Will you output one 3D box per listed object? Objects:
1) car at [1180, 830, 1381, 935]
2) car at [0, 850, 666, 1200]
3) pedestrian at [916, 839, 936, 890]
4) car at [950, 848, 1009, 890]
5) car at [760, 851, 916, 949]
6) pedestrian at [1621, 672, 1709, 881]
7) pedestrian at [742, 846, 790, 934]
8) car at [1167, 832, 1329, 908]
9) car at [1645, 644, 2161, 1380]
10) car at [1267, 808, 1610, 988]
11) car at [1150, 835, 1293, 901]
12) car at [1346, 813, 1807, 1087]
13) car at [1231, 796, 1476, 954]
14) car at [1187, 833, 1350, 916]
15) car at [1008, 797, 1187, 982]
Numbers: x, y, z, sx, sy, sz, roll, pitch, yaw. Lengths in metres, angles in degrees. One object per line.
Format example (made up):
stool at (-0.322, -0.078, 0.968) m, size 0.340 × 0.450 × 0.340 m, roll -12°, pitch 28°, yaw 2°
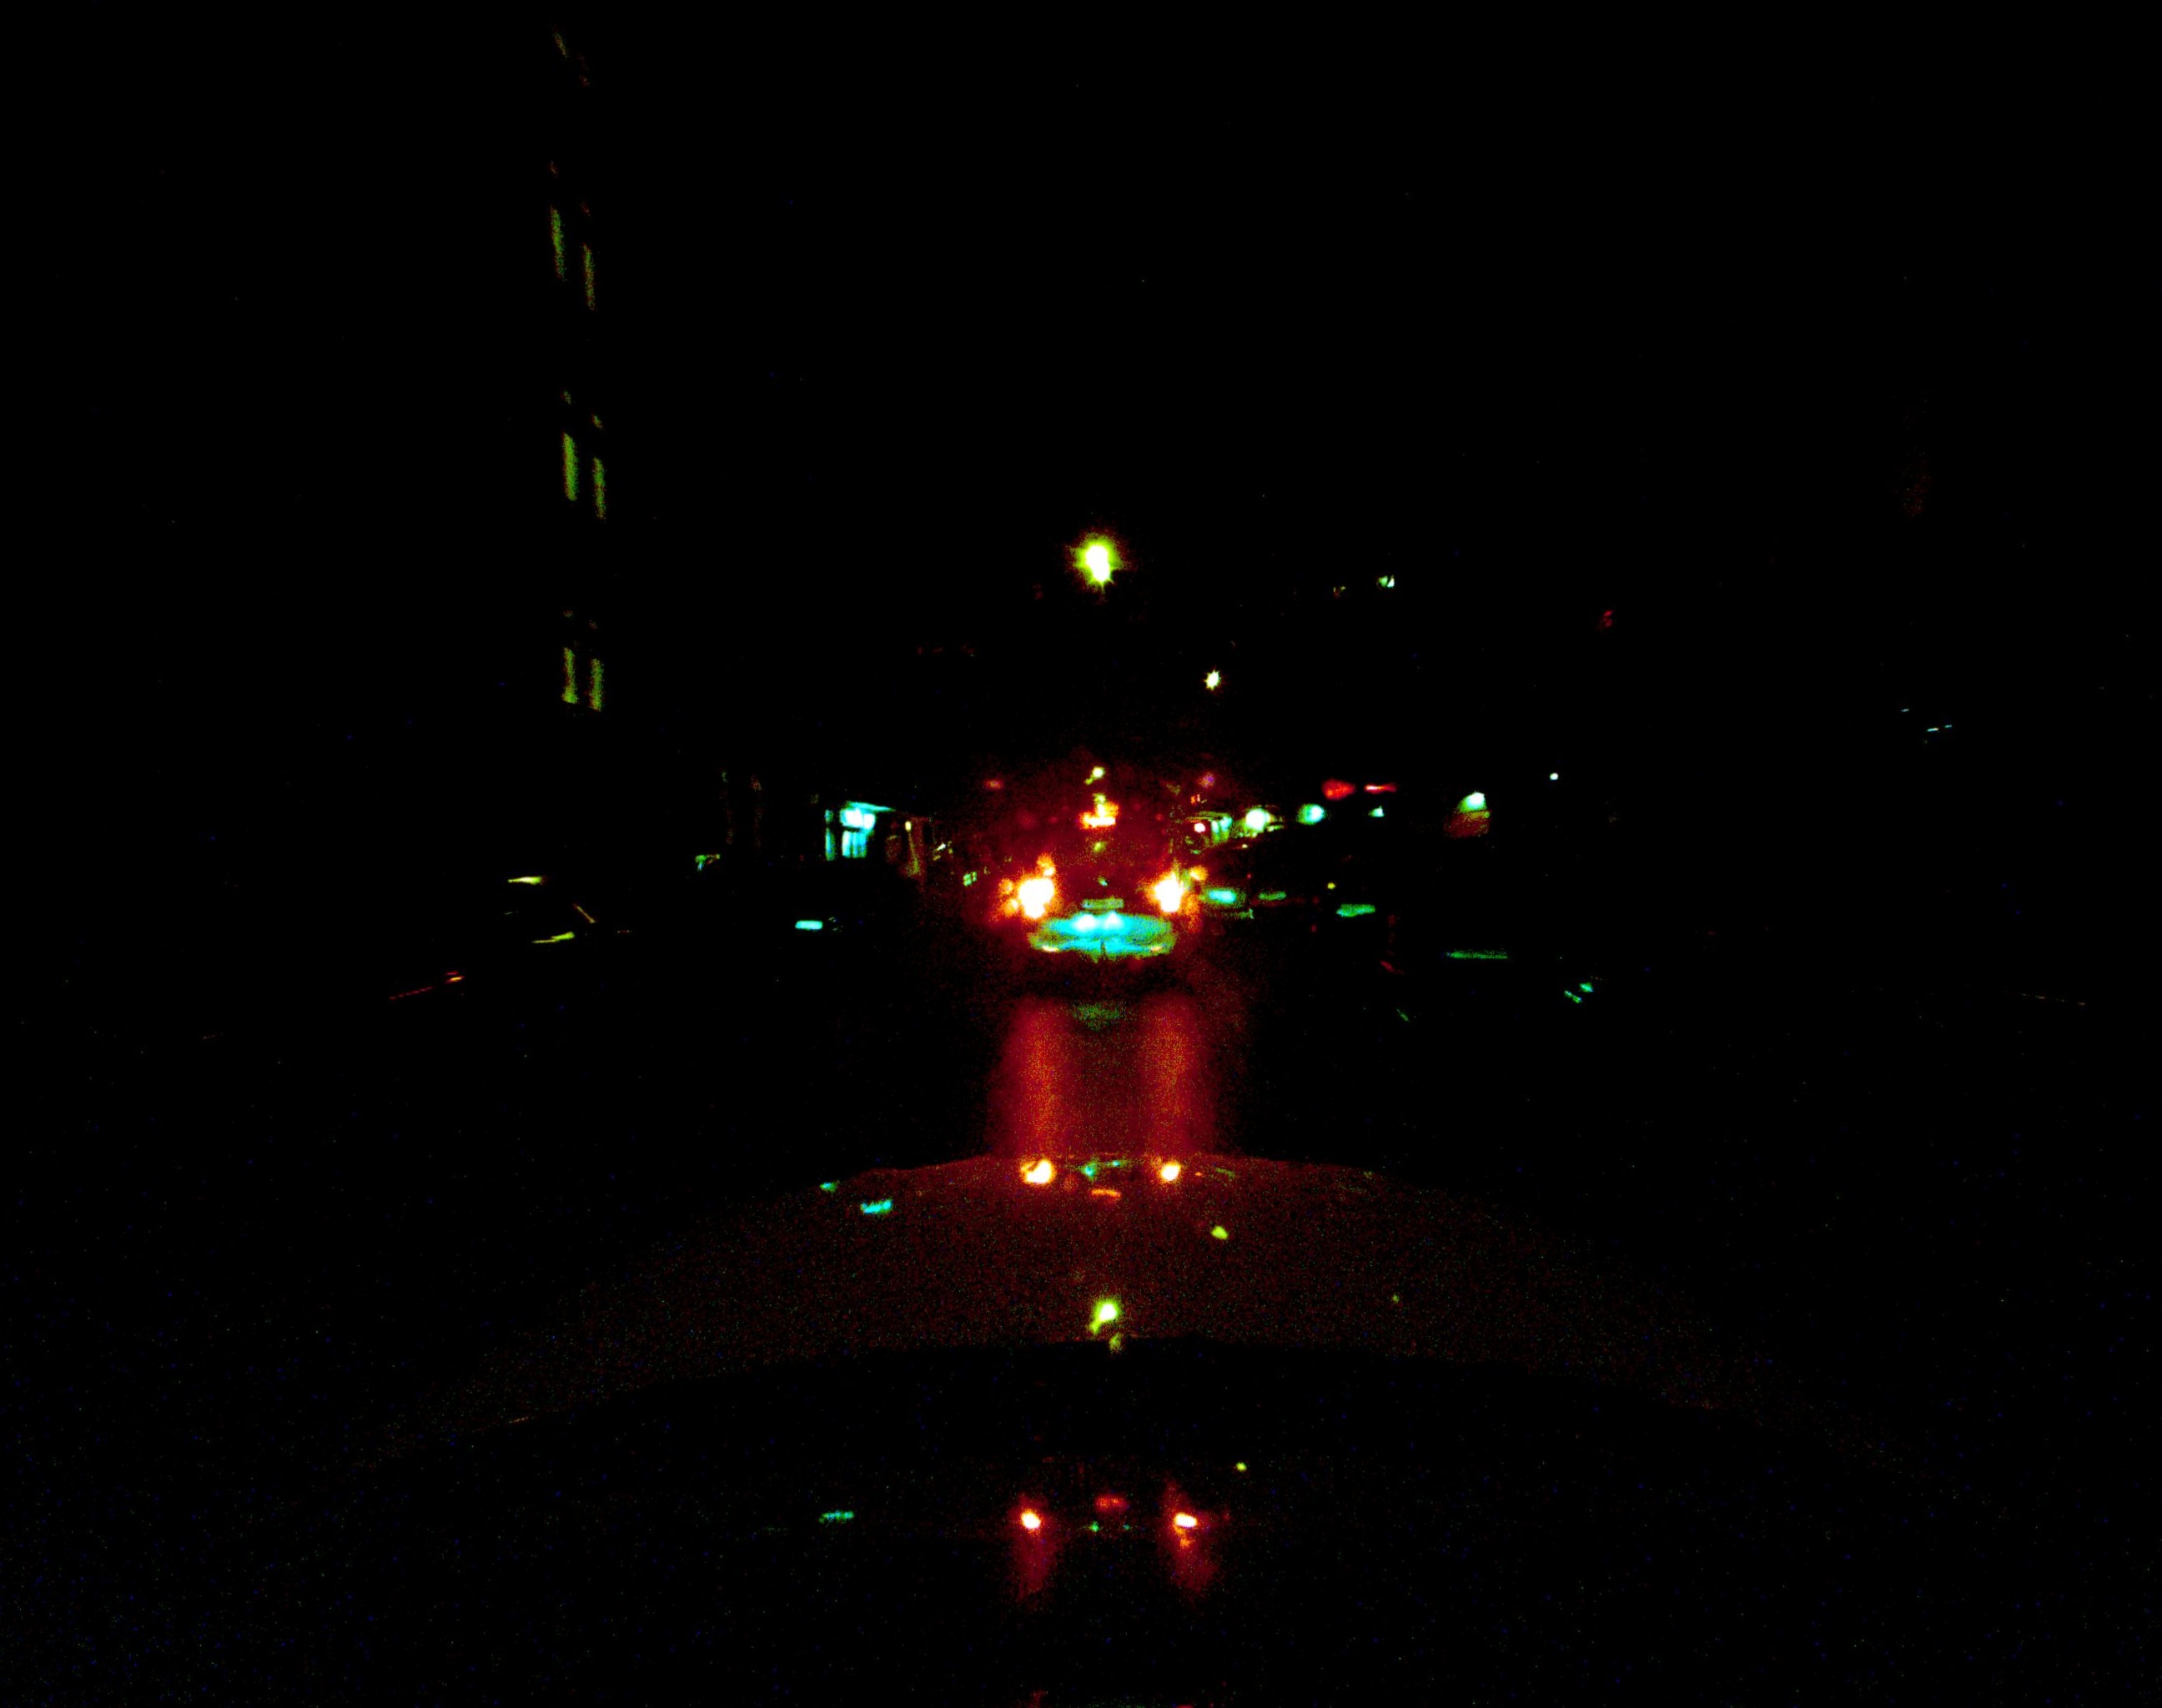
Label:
car at (3.748, 0.475, 15.118) m, size 3.581 × 1.590 × 1.588 m, roll -4°, pitch 0°, yaw -35°
car at (-4.752, 0.775, 5.728) m, size 1.651 × 1.557 × 4.073 m, roll -1°, pitch 0°, yaw -2°
pedestrian at (-5.955, 0.395, 31.341) m, size 0.659 × 1.904 × 0.538 m, roll -1°, pitch 0°, yaw -3°
car at (-4.267, 0.600, 34.961) m, size 1.877 × 1.685 × 4.002 m, roll -1°, pitch 0°, yaw 2°
car at (-4.392, 0.743, 15.393) m, size 1.808 × 1.557 × 4.073 m, roll -1°, pitch 0°, yaw -2°
pedestrian at (10.190, -1.317, 14.236) m, size 0.888 × 3.527 × 0.791 m, roll -1°, pitch 0°, yaw 1°
pedestrian at (-6.272, 0.709, 16.229) m, size 0.698 × 1.704 × 0.539 m, roll -1°, pitch 0°, yaw 1°
car at (4.363, 0.344, 21.106) m, size 4.017 × 1.761 × 1.860 m, roll -2°, pitch 0°, yaw -35°
car at (4.090, 0.302, 3.289) m, size 3.766 × 1.840 × 1.707 m, roll -4°, pitch 0°, yaw -35°
car at (4.378, 0.396, 9.790) m, size 4.017 × 1.587 × 1.860 m, roll -5°, pitch 1°, yaw -35°
car at (4.178, 0.362, 23.998) m, size 4.017 × 1.761 × 1.860 m, roll -1°, pitch 0°, yaw -35°
car at (3.957, 0.532, 6.360) m, size 3.580 × 1.453 × 1.655 m, roll -4°, pitch 0°, yaw -34°
car at (4.168, 0.230, 12.294) m, size 3.581 × 1.990 × 1.588 m, roll -4°, pitch 0°, yaw -35°
car at (4.364, 0.408, 18.802) m, size 3.586 × 1.733 × 1.671 m, roll -1°, pitch 0°, yaw -35°
car at (0.250, 0.424, 11.318) m, size 1.986 × 2.050 × 4.001 m, roll -2°, pitch -1°, yaw 2°
